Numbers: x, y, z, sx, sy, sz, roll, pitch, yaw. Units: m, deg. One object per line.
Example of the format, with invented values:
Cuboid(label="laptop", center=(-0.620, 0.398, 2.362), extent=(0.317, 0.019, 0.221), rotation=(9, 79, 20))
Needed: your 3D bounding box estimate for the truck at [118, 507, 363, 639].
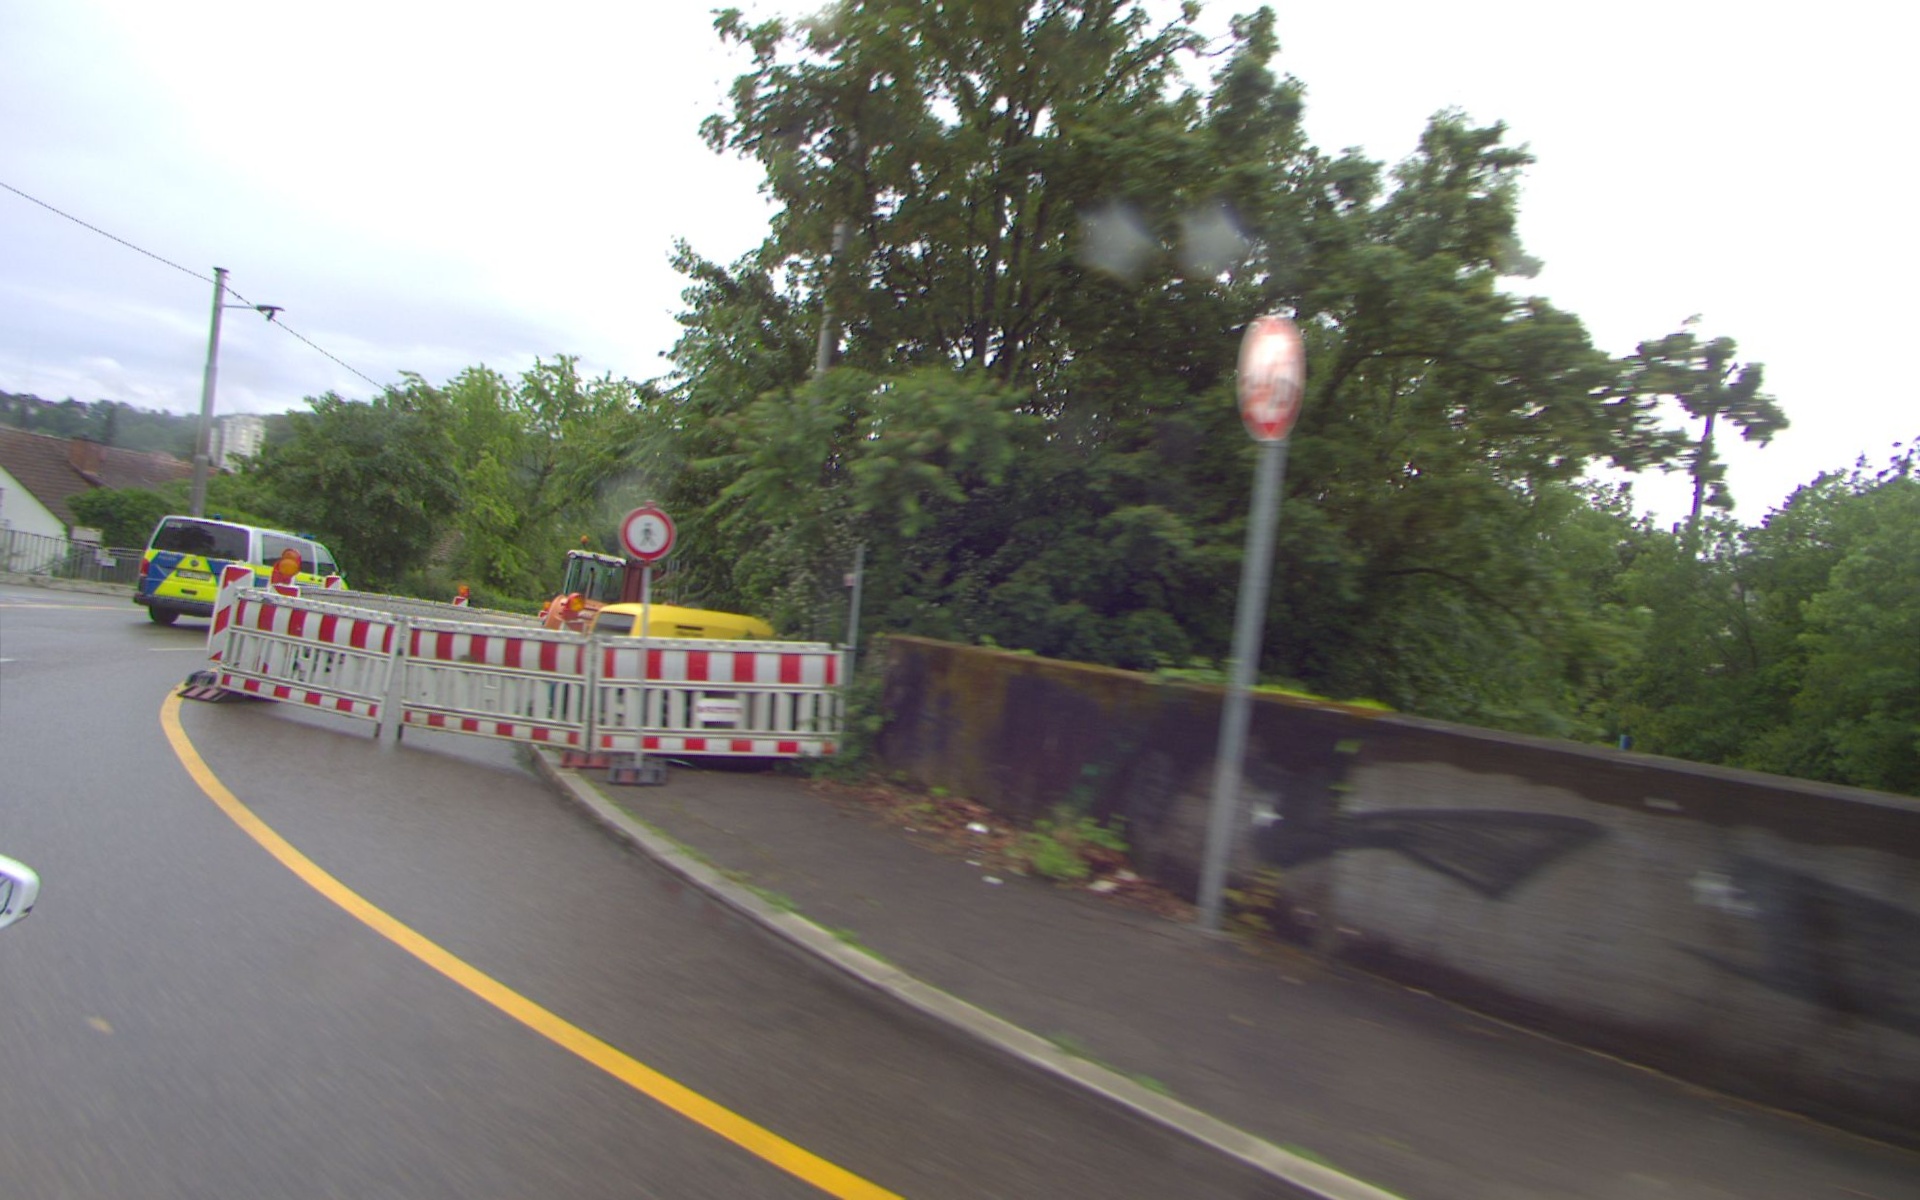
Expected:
Cuboid(label="truck", center=(-13.653, -0.473, 19.511), extent=(1.967, 2.038, 4.724), rotation=(6, -1, -12))

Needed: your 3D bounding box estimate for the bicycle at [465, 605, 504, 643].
Cuboid(label="bicycle", center=(-19.790, 0.998, 41.902), extent=(0.414, 1.362, 1.748), rotation=(8, -6, 8))

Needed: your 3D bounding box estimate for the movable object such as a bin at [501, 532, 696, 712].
Cuboid(label="movable object such as a bin", center=(-7.844, 0.401, 22.527), extent=(2.045, 3.268, 5.279), rotation=(9, 1, 0))
